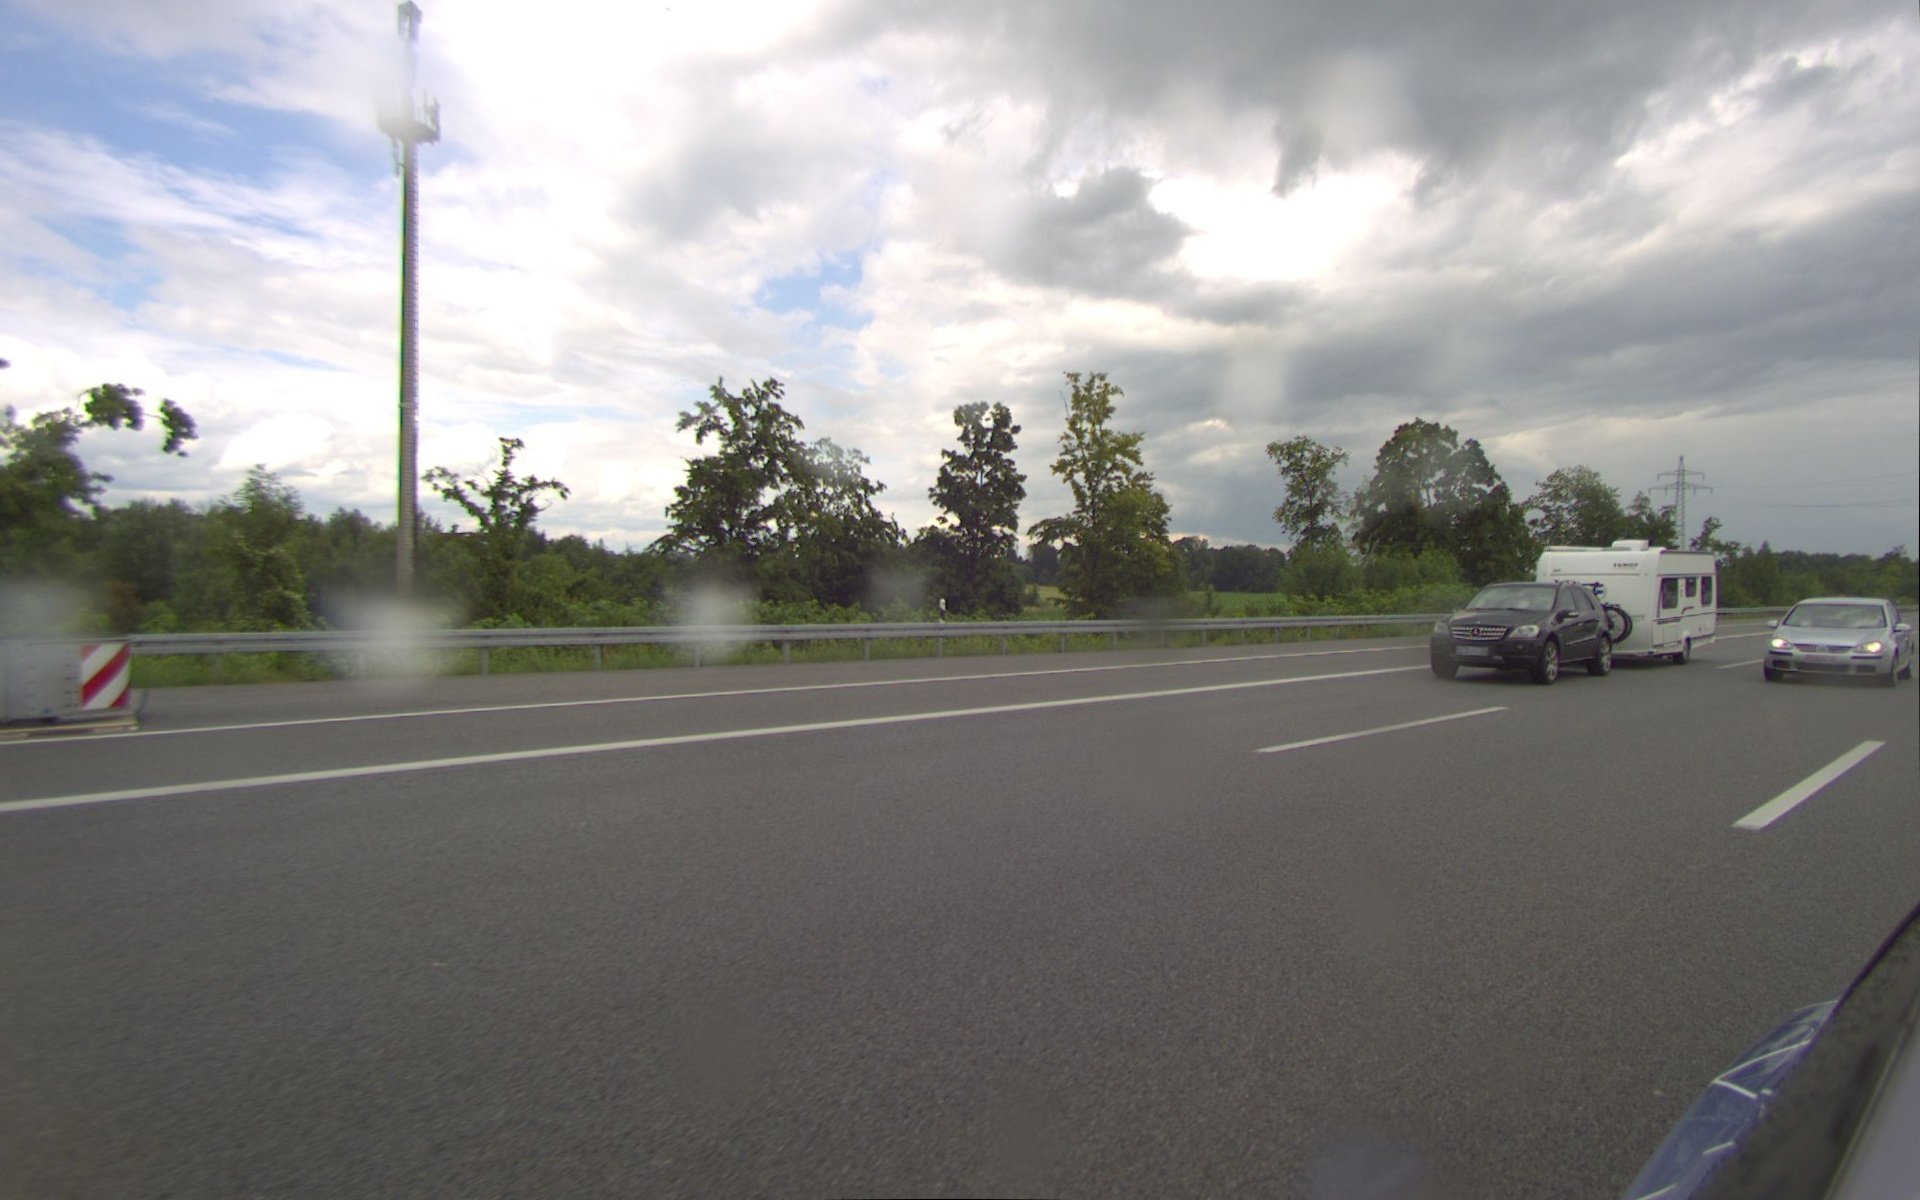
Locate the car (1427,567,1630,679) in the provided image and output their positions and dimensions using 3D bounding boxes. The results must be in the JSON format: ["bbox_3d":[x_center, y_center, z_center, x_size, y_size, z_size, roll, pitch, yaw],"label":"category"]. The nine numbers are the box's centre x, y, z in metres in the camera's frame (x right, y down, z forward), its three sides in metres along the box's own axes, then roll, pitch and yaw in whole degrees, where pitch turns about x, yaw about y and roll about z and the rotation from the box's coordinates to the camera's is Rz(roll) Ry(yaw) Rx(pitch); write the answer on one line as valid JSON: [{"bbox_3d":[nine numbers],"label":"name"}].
[{"bbox_3d":[10.460,0.354,18.479,4.424,1.798,1.923,0,0,-42],"label":"car"}]

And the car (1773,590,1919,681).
[{"bbox_3d":[16.071,0.552,18.161,3.931,1.464,1.682,0,1,-42],"label":"car"}]

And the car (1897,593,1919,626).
[{"bbox_3d":[43.868,0.416,45.755,3.931,1.464,1.839,0,1,-42],"label":"car"}]

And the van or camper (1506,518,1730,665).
[{"bbox_3d":[14.734,-0.175,22.421,7.084,2.773,2.388,0,0,-42],"label":"van or camper"}]
